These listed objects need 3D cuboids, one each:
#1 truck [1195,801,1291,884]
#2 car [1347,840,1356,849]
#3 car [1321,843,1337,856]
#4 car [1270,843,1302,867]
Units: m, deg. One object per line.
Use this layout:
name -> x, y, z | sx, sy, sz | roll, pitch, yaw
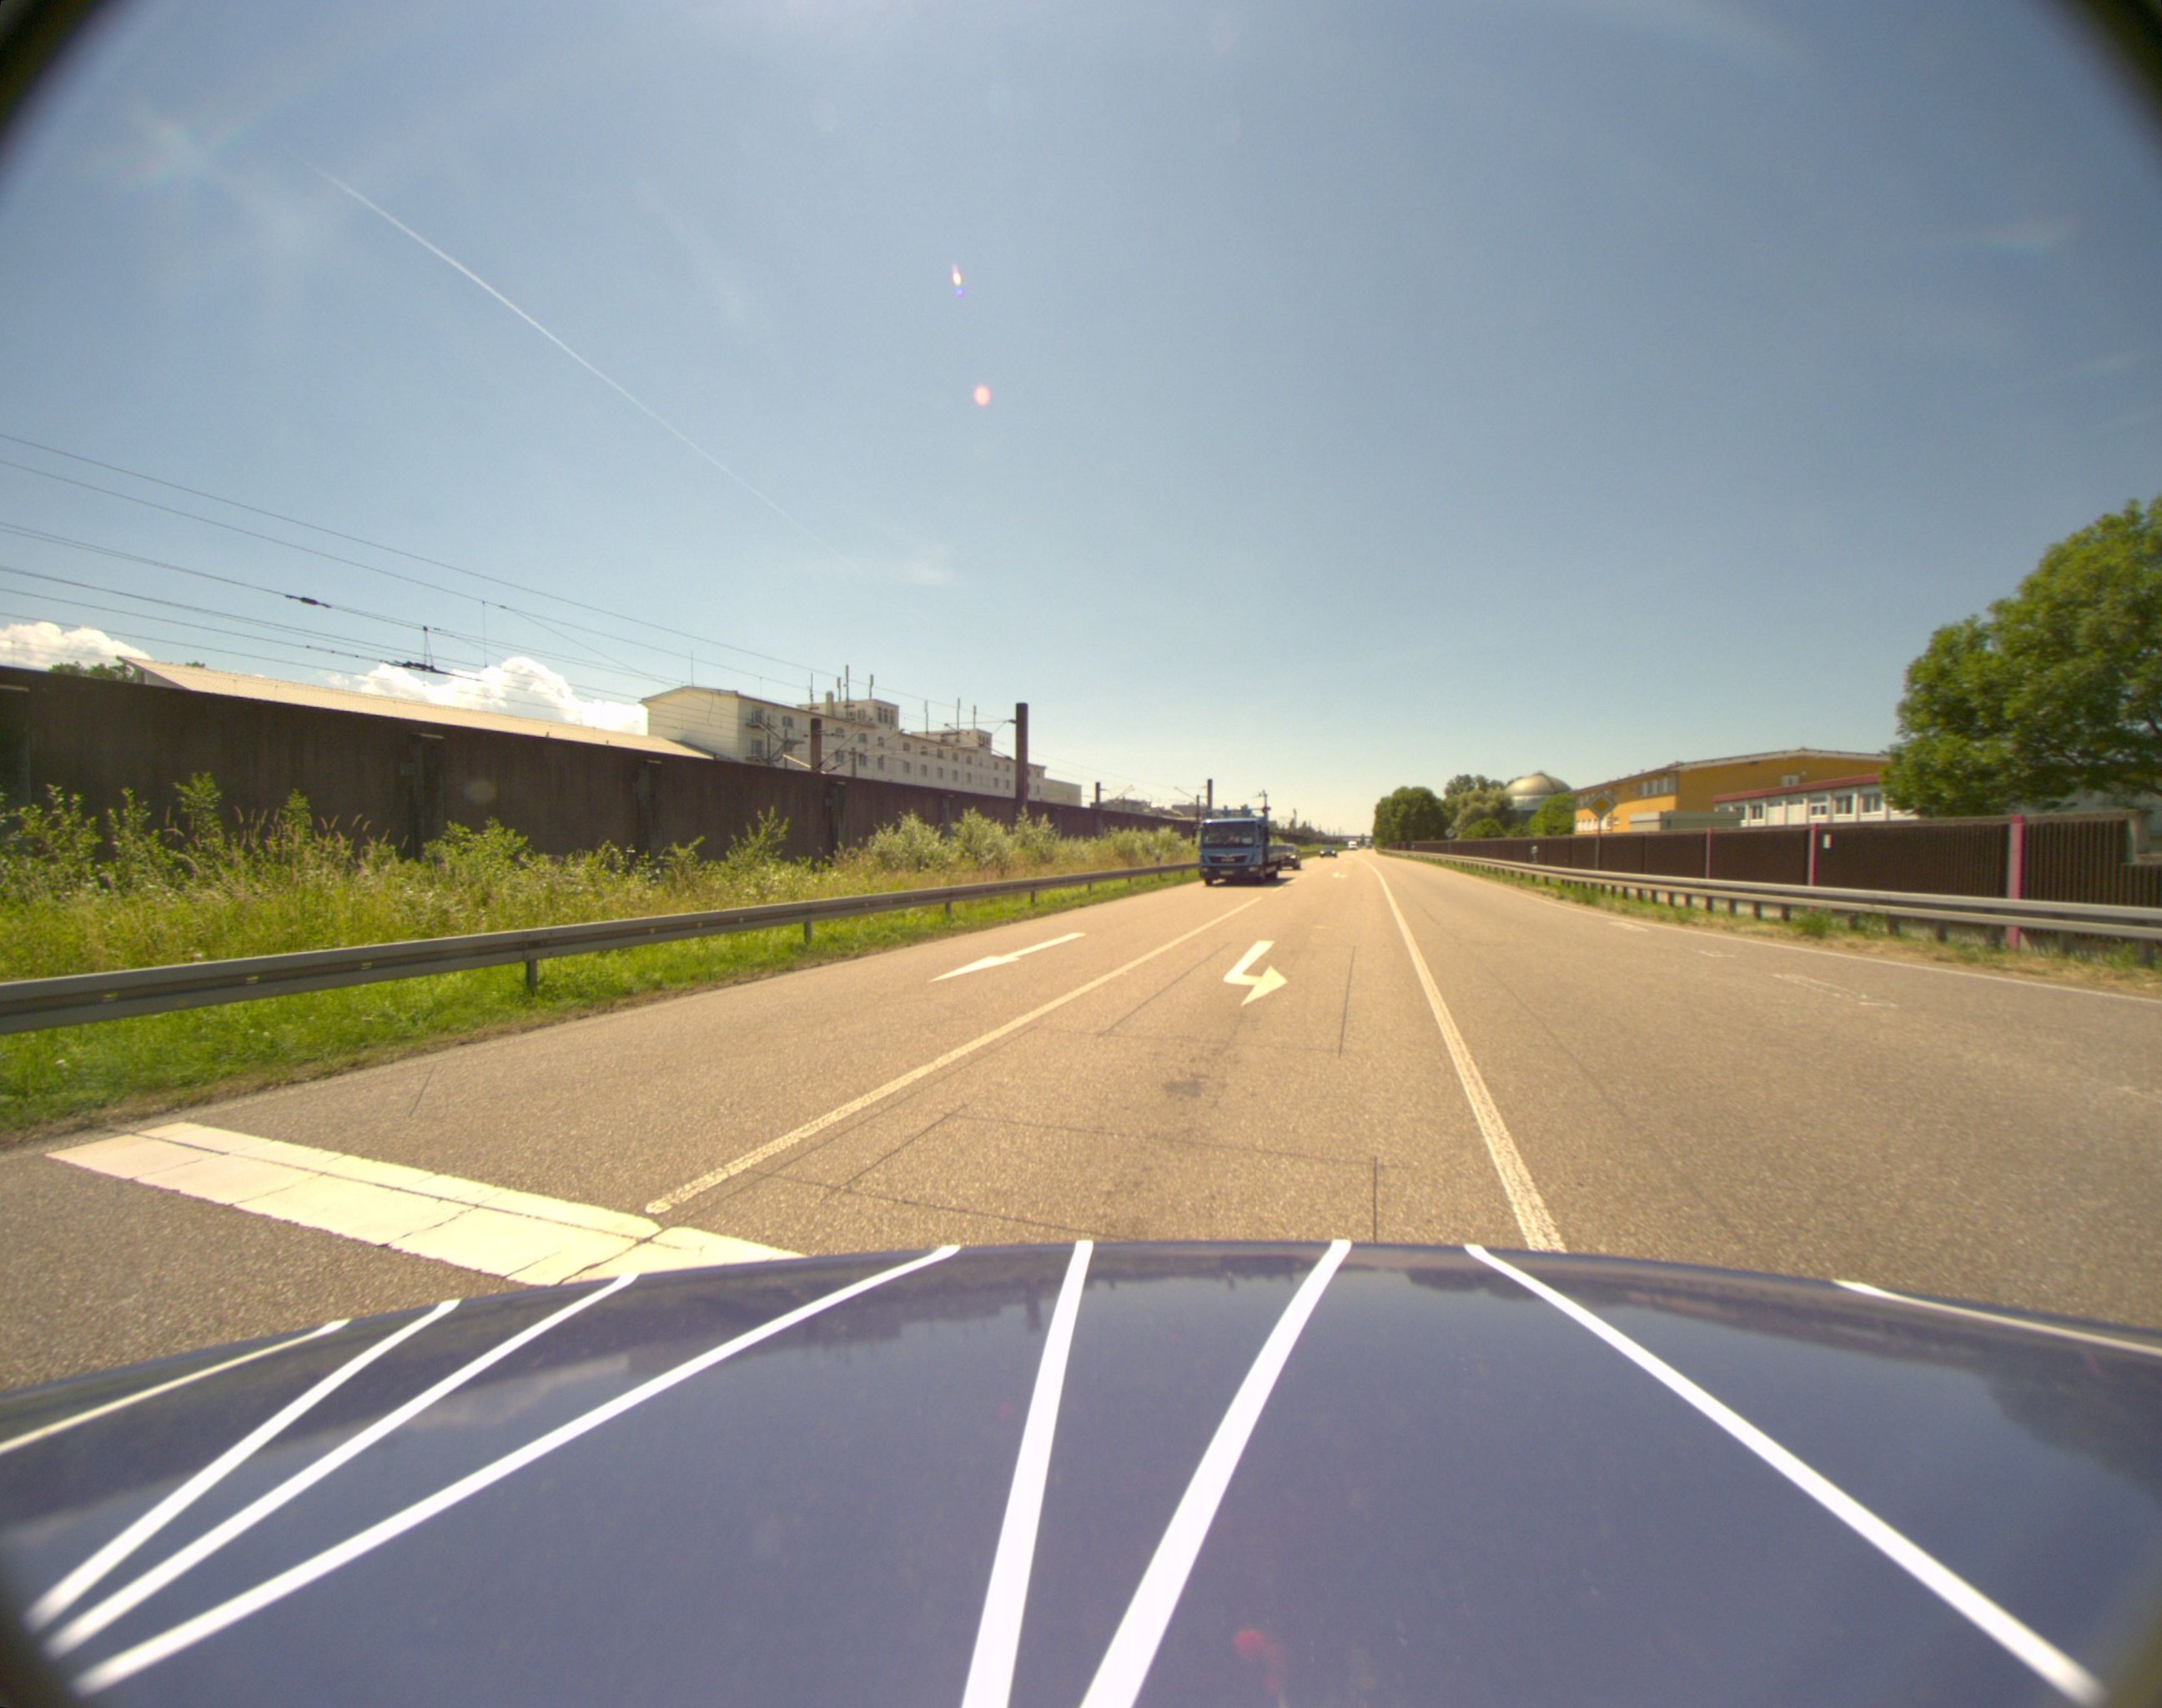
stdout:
truck -> 7.316, -0.513, 32.938 | 2.613, 3.024, 10.669 | 0, 1, 20
car -> 74.205, -2.613, 208.477 | 2.201, 2.545, 5.230 | 0, 1, 21
car -> 30.216, -0.567, 92.458 | 1.727, 1.465, 3.894 | 0, 1, 21
car -> 13.039, 0.026, 48.110 | 1.727, 1.465, 4.181 | 0, 1, 19
